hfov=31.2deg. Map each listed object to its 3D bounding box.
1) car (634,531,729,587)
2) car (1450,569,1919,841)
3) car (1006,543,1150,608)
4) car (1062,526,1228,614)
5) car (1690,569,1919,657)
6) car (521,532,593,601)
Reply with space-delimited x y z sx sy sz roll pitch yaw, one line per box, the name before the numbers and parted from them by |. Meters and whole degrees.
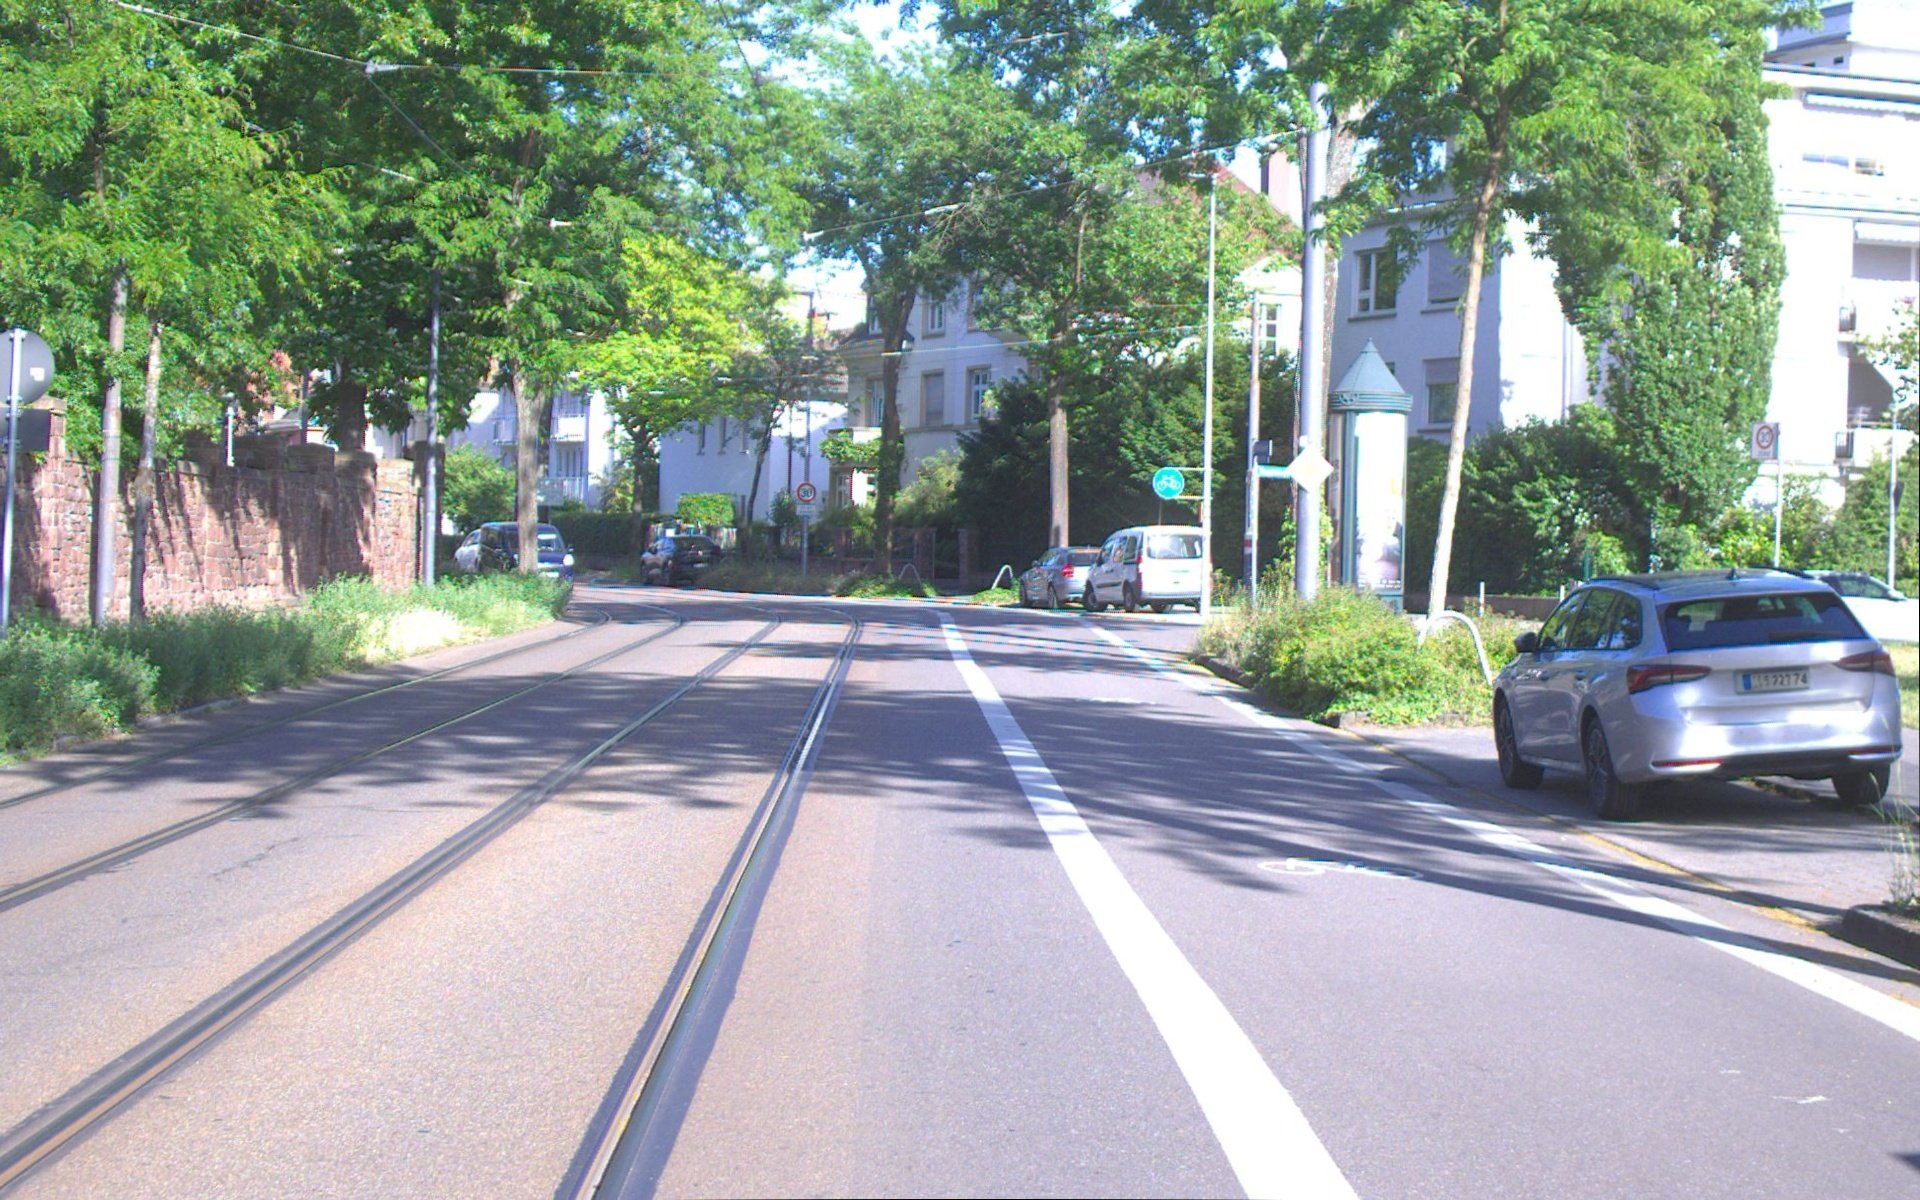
car | -8.964 -1.344 110.469 1.804 1.688 4.730 -2 2 -20
car | 4.689 0.573 22.313 2.000 1.460 5.433 -2 1 -2
car | 2.651 -0.572 78.561 1.993 1.418 4.334 1 0 -17
car | 3.868 -0.658 72.674 2.022 1.741 4.753 1 1 -16
car | 14.680 0.226 57.327 4.509 1.364 1.969 1 1 -19
car | -10.841 -0.920 92.663 1.632 1.786 4.339 1 1 -3
